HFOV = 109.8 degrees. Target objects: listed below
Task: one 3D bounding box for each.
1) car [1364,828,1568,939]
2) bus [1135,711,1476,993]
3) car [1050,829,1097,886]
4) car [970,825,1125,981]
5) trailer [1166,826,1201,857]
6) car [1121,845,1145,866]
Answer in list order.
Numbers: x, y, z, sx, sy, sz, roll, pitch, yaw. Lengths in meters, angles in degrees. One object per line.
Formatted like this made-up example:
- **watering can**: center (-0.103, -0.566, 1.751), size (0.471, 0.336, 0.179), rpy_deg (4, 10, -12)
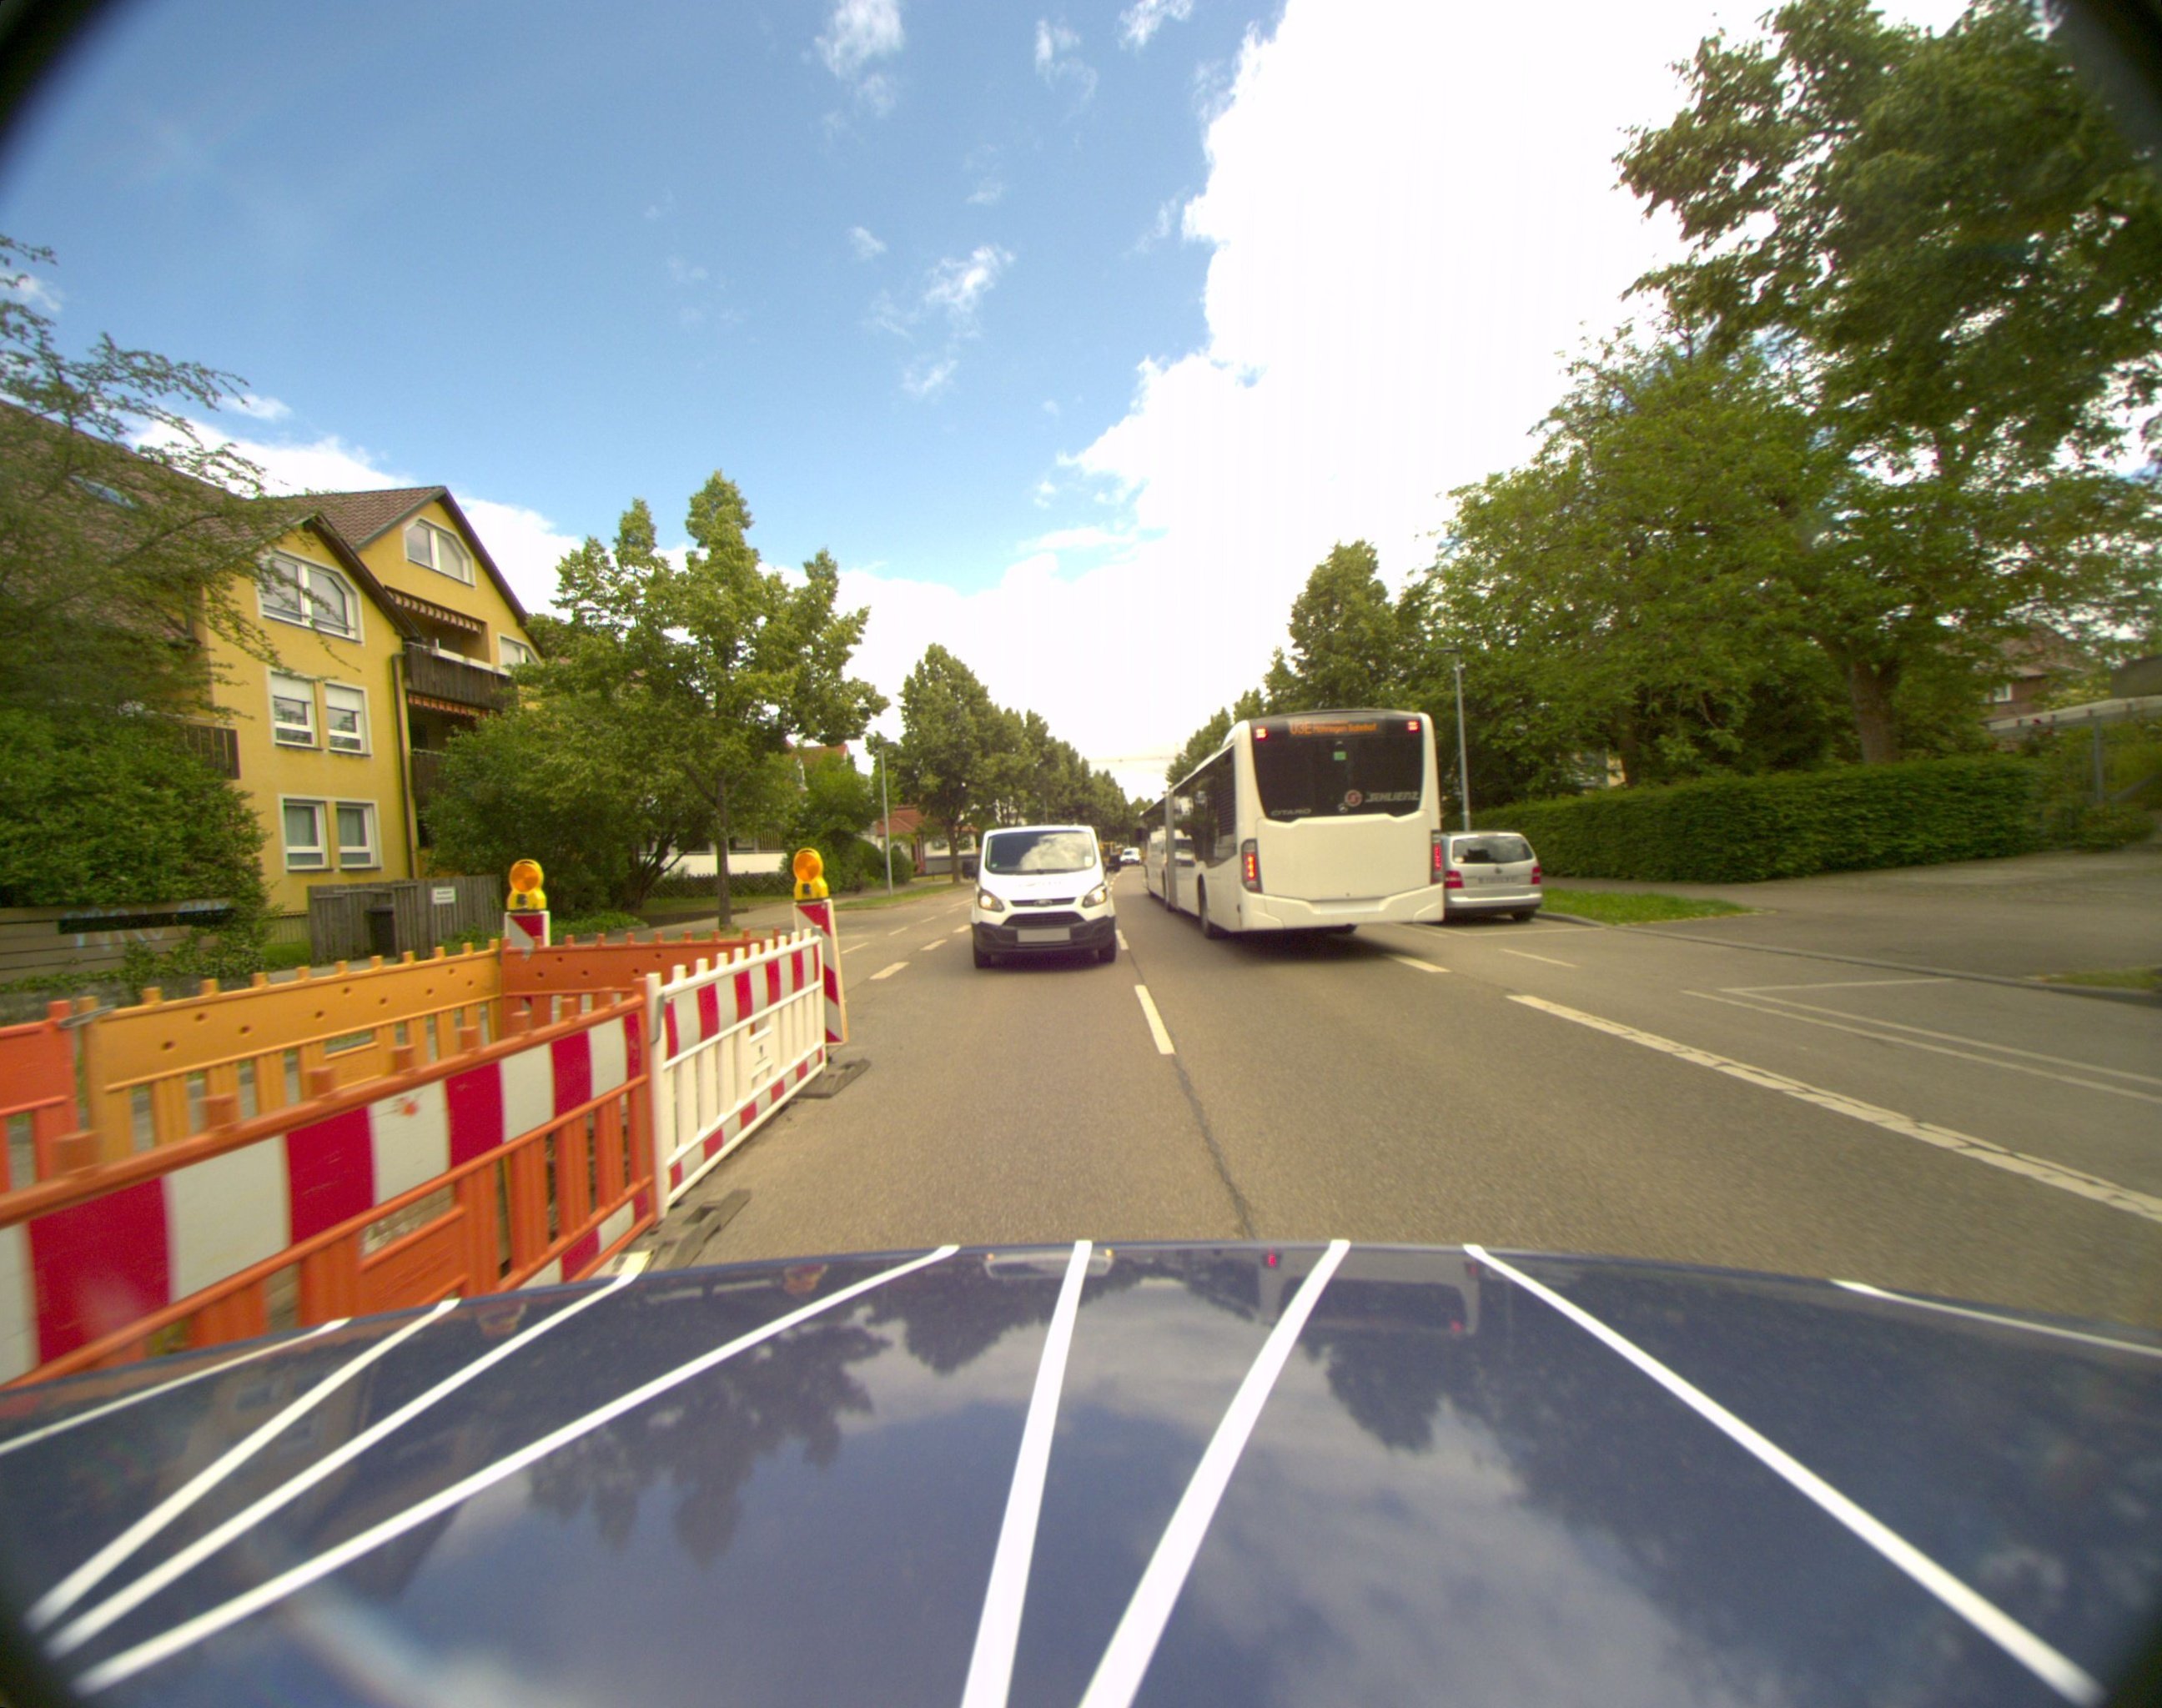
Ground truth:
- **car**: center (6.939, 0.432, 14.246), size (1.693, 1.674, 4.225), rpy_deg (-3, 1, 1)
- **bus**: center (3.348, -0.177, 18.170), size (2.812, 3.269, 18.041), rpy_deg (-3, 1, 0)
- **car**: center (-0.308, 0.150, 38.025), size (1.998, 2.584, 4.000), rpy_deg (-4, 0, 2)
- **car**: center (-0.471, 0.647, 12.950), size (1.999, 2.002, 5.318), rpy_deg (-3, 0, 0)
- **trailer**: center (10.224, -1.249, 75.163), size (2.638, 2.862, 6.877), rpy_deg (-3, 0, 13)
- **car**: center (5.270, 0.145, 76.987), size (1.997, 2.002, 4.002), rpy_deg (-2, 0, 9)
